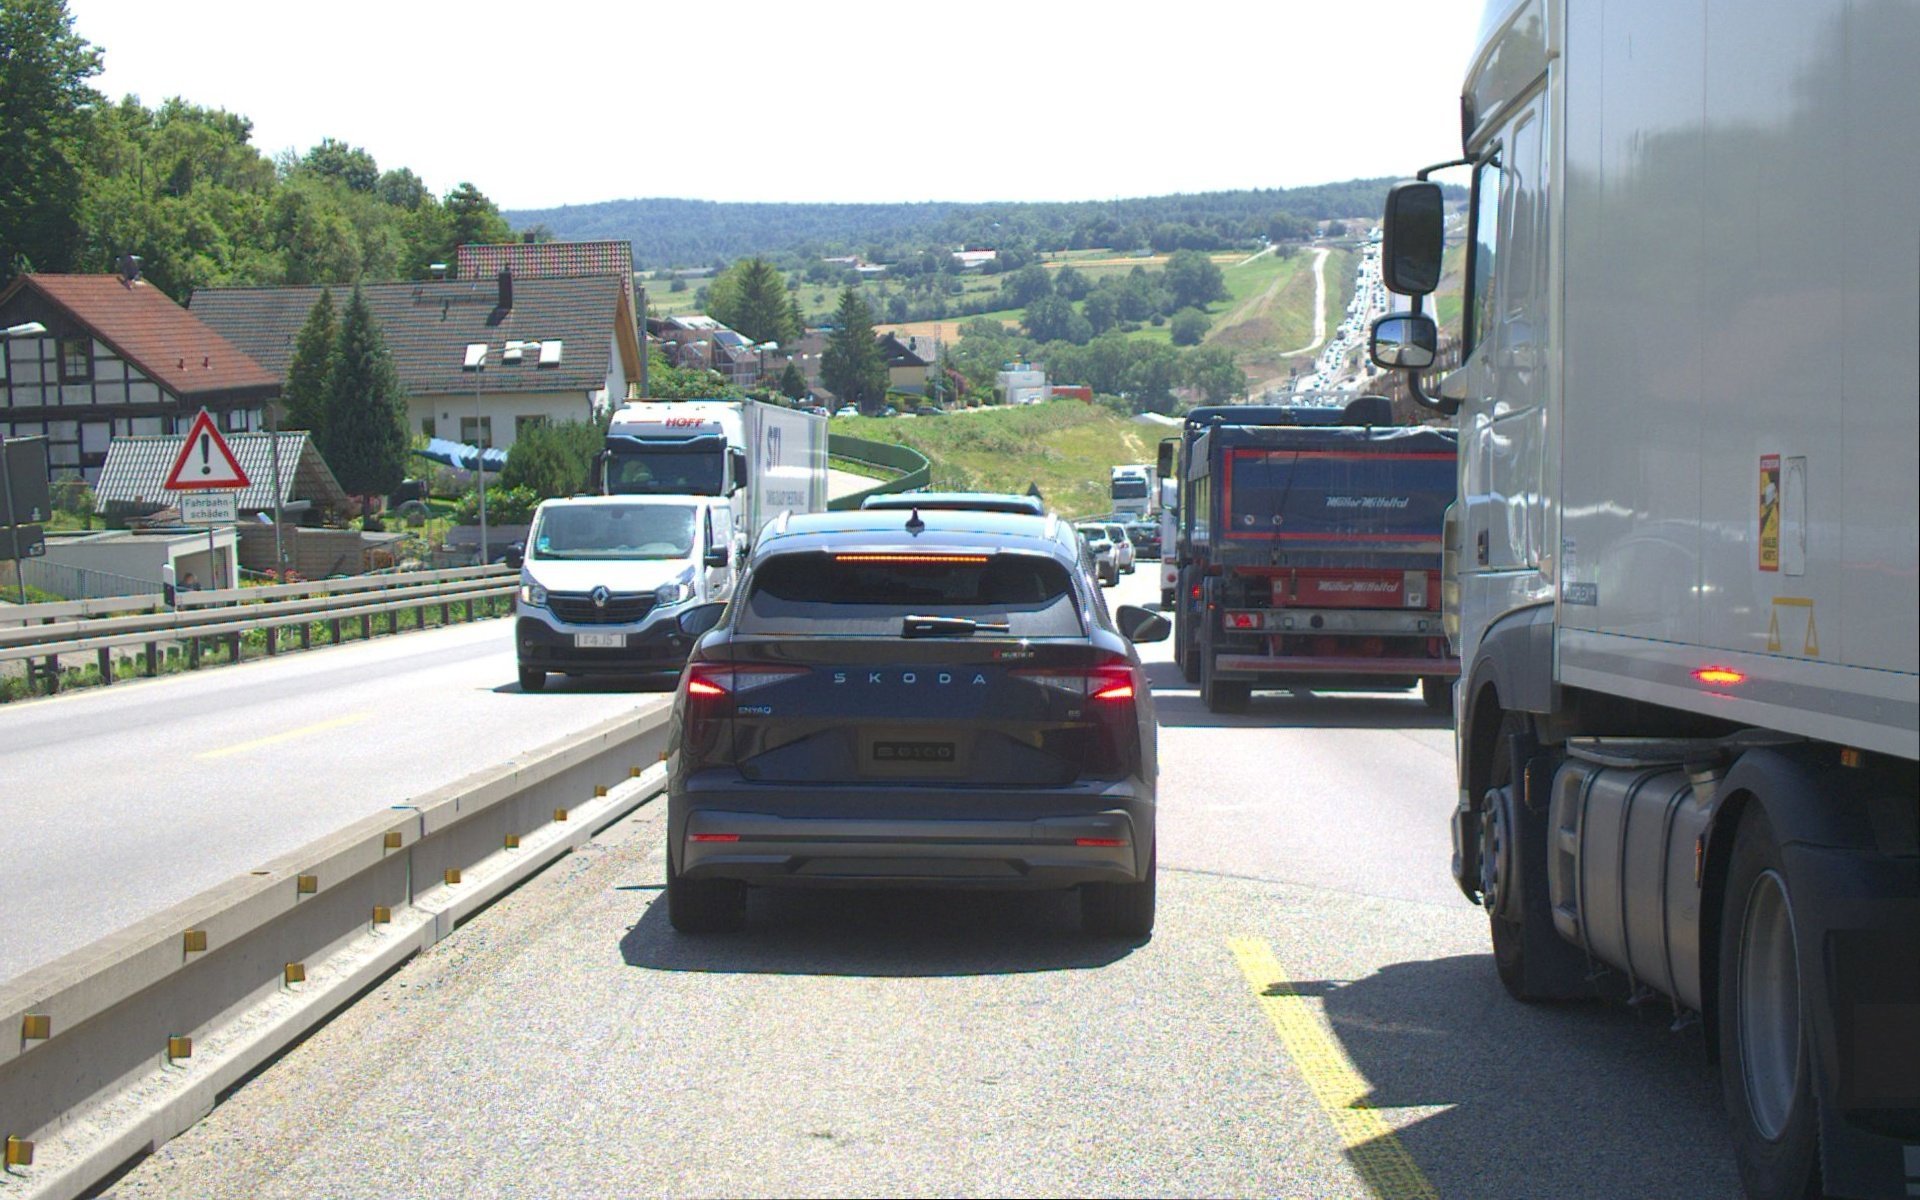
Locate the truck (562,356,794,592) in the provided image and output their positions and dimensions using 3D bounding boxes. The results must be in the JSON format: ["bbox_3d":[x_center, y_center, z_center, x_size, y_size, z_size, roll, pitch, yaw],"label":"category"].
[{"bbox_3d":[-5.462,-2.391,68.265,3.304,4.347,8.300,1,1,4],"label":"truck"}]

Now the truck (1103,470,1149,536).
[{"bbox_3d":[10.943,-6.391,226.405,2.752,4.268,4.956,1,2,5],"label":"truck"}]

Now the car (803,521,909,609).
[{"bbox_3d":[-1.907,-0.653,64.028,1.845,1.568,4.000,0,1,0],"label":"car"}]

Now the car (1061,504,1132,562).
[{"bbox_3d":[3.959,-1.924,99.187,1.994,1.579,3.836,1,1,3],"label":"car"}]

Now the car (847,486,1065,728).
[{"bbox_3d":[-0.088,-0.008,29.473,1.706,1.875,4.001,1,2,-2],"label":"car"}]

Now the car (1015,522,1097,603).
[{"bbox_3d":[2.085,-0.840,74.332,1.707,1.616,4.000,1,2,2],"label":"car"}]

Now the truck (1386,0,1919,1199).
[{"bbox_3d":[2.917,-0.659,8.553,2.513,4.011,8.238,1,1,-1],"label":"truck"}]

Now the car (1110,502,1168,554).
[{"bbox_3d":[6.198,-2.471,118.769,1.701,1.722,3.835,1,1,7],"label":"car"}]

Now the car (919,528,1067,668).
[{"bbox_3d":[0.380,-0.063,44.163,1.706,1.616,4.001,1,2,-2],"label":"car"}]

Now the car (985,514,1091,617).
[{"bbox_3d":[1.351,-0.620,58.543,1.707,1.616,4.000,1,2,2],"label":"car"}]

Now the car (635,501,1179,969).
[{"bbox_3d":[-0.239,0.445,13.818,1.842,1.581,3.908,1,1,-2],"label":"car"}]

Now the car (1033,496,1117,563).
[{"bbox_3d":[2.877,-1.744,85.450,1.994,1.579,3.836,1,1,3],"label":"car"}]

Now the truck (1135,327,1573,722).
[{"bbox_3d":[3.540,-0.687,34.478,3.195,3.180,12.808,1,1,1],"label":"truck"}]

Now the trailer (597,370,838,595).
[{"bbox_3d":[-5.012,-2.374,74.437,3.252,4.363,14.057,1,1,4],"label":"trailer"}]

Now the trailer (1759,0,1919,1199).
[{"bbox_3d":[2.995,-0.695,1.190,2.531,4.113,11.549,1,1,-1],"label":"trailer"}]

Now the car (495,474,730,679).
[{"bbox_3d":[-3.570,-0.259,36.169,1.993,2.004,4.858,0,1,0],"label":"car"}]
